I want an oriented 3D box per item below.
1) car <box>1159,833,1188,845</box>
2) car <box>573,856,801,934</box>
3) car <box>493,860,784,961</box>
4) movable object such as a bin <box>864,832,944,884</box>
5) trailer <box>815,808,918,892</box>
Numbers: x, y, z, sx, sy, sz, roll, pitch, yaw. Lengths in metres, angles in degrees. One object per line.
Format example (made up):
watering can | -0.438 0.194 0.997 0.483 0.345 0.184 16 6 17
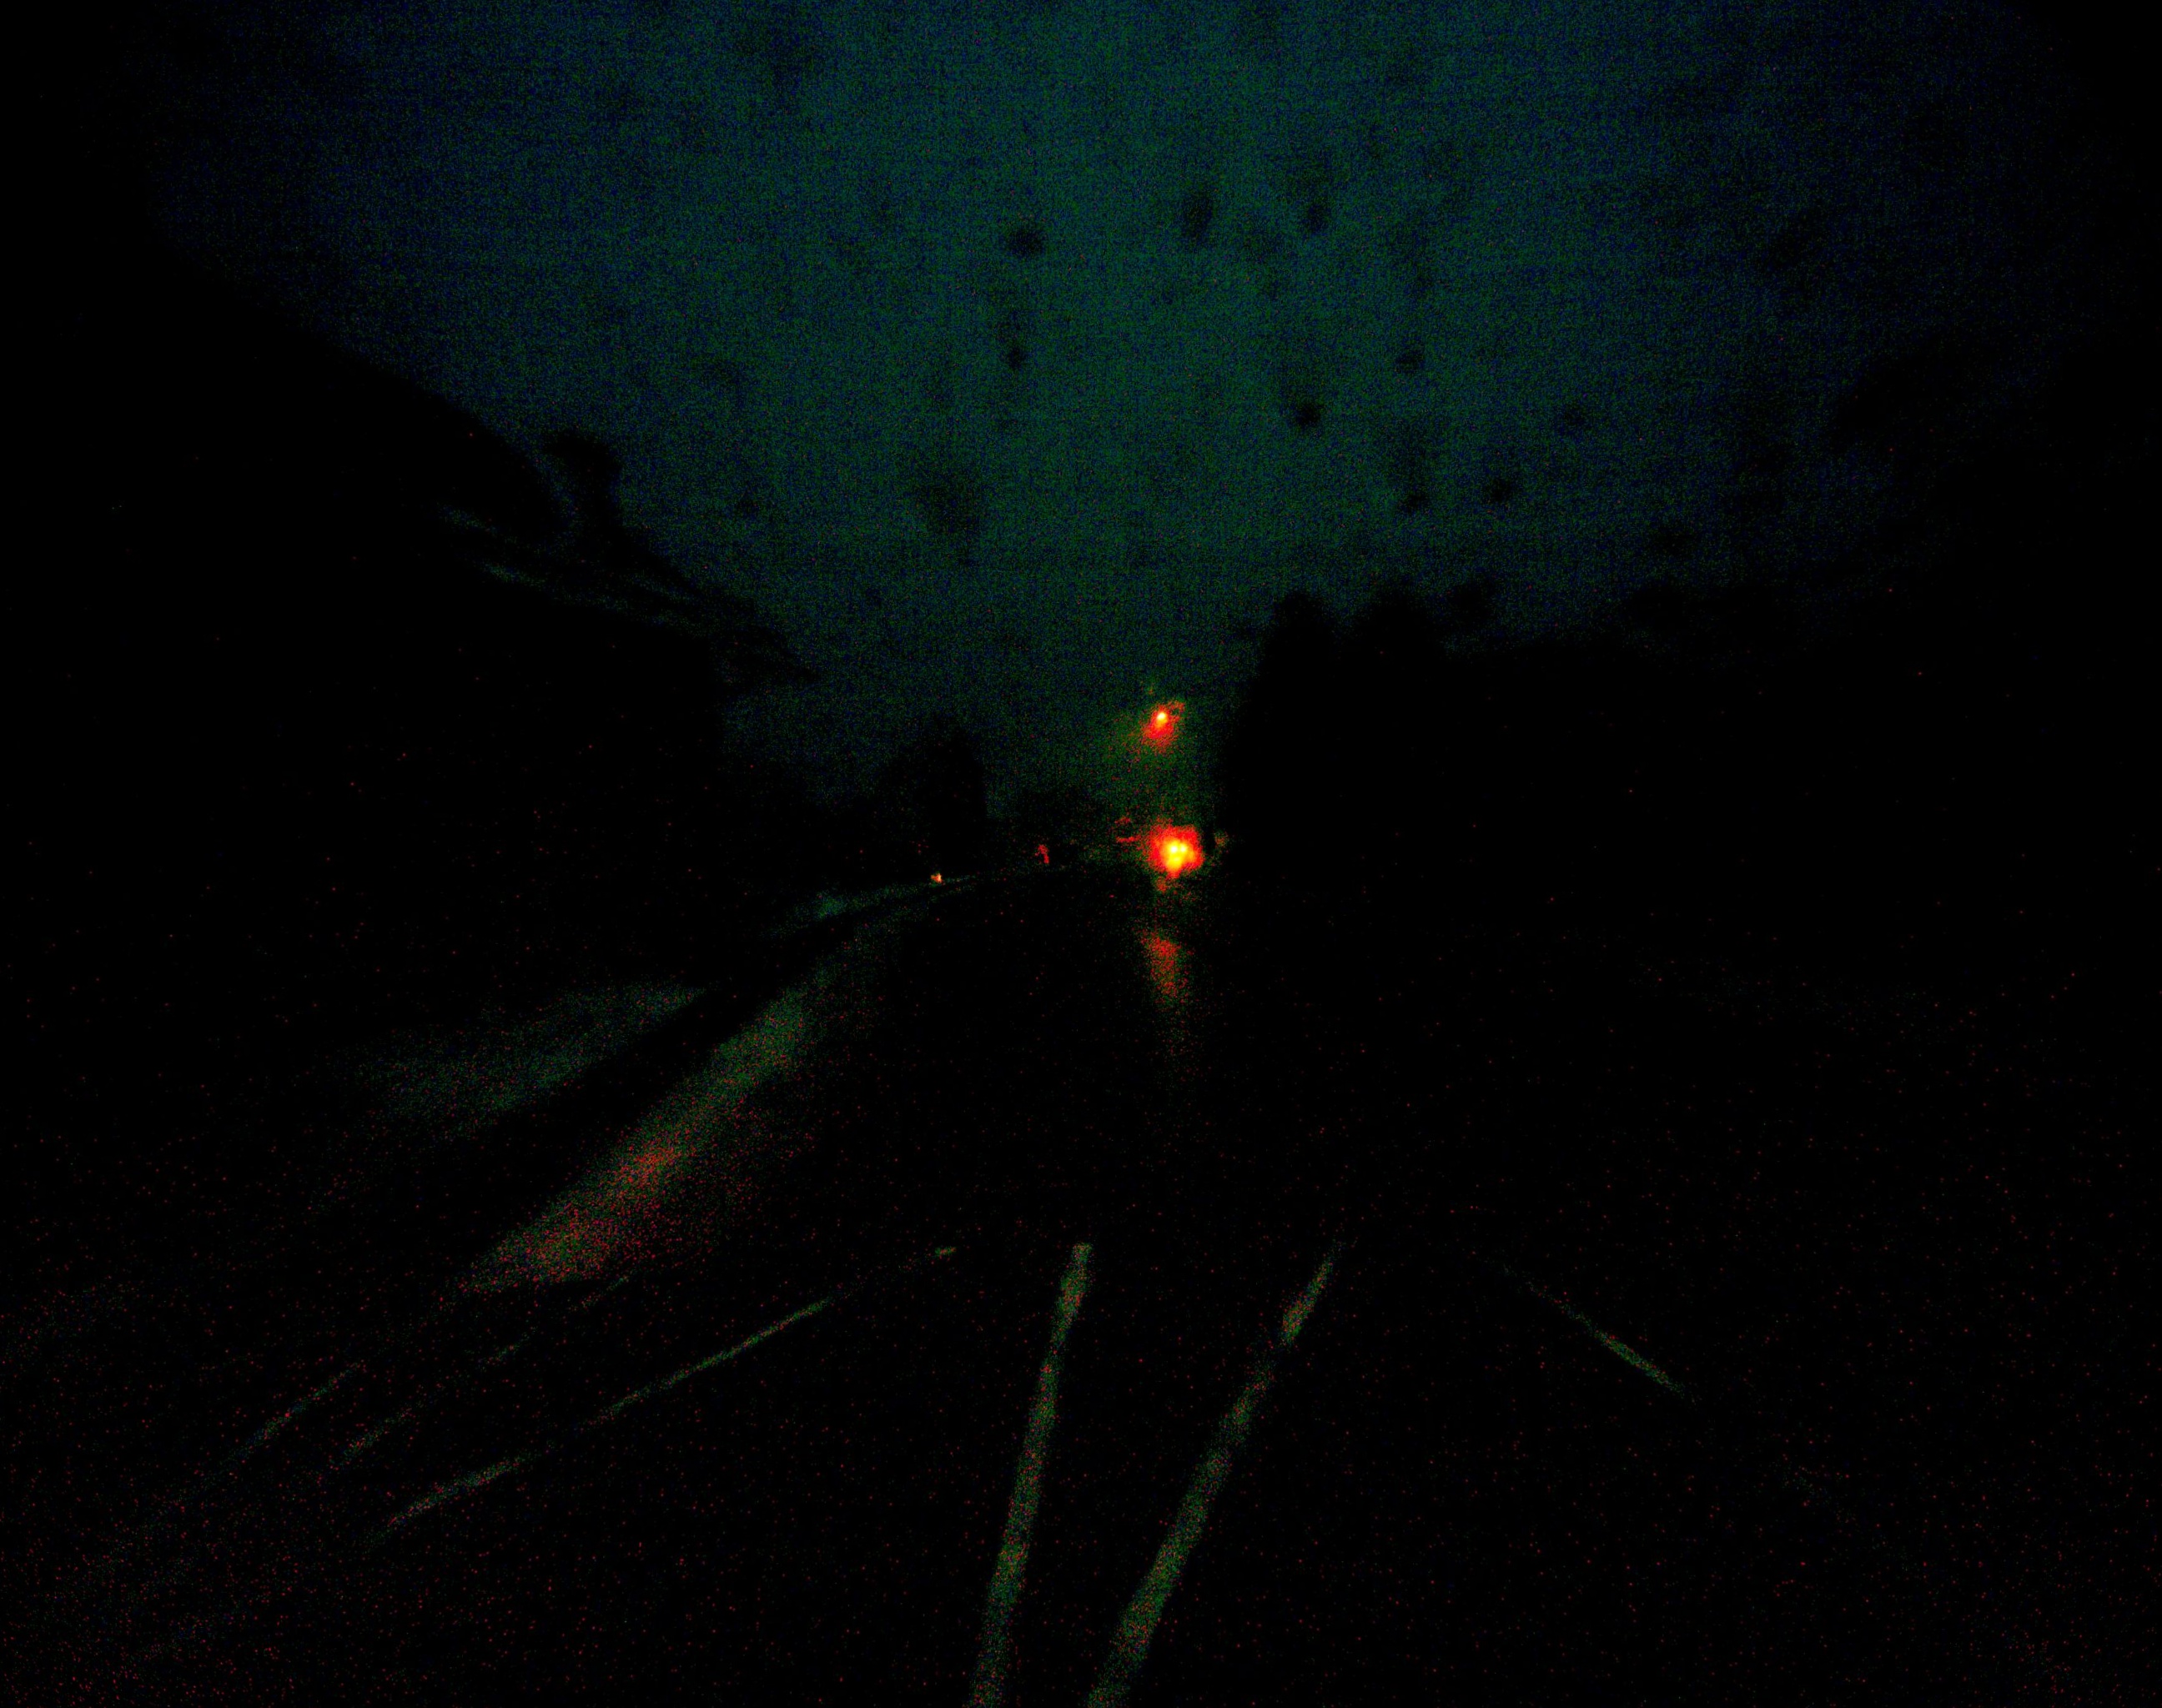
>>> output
car | 15.096 -2.492 123.718 4.207 1.849 1.914 2 5 34
car | -8.776 0.846 17.056 4.248 1.550 2.002 0 1 14
car | -7.822 0.934 13.651 4.165 1.550 1.947 0 3 9
movable object such as a bin | -9.206 0.152 39.999 2.391 2.455 4.518 -2 2 11
trailer | -9.811 -0.249 35.402 2.881 3.541 5.062 -2 2 4
